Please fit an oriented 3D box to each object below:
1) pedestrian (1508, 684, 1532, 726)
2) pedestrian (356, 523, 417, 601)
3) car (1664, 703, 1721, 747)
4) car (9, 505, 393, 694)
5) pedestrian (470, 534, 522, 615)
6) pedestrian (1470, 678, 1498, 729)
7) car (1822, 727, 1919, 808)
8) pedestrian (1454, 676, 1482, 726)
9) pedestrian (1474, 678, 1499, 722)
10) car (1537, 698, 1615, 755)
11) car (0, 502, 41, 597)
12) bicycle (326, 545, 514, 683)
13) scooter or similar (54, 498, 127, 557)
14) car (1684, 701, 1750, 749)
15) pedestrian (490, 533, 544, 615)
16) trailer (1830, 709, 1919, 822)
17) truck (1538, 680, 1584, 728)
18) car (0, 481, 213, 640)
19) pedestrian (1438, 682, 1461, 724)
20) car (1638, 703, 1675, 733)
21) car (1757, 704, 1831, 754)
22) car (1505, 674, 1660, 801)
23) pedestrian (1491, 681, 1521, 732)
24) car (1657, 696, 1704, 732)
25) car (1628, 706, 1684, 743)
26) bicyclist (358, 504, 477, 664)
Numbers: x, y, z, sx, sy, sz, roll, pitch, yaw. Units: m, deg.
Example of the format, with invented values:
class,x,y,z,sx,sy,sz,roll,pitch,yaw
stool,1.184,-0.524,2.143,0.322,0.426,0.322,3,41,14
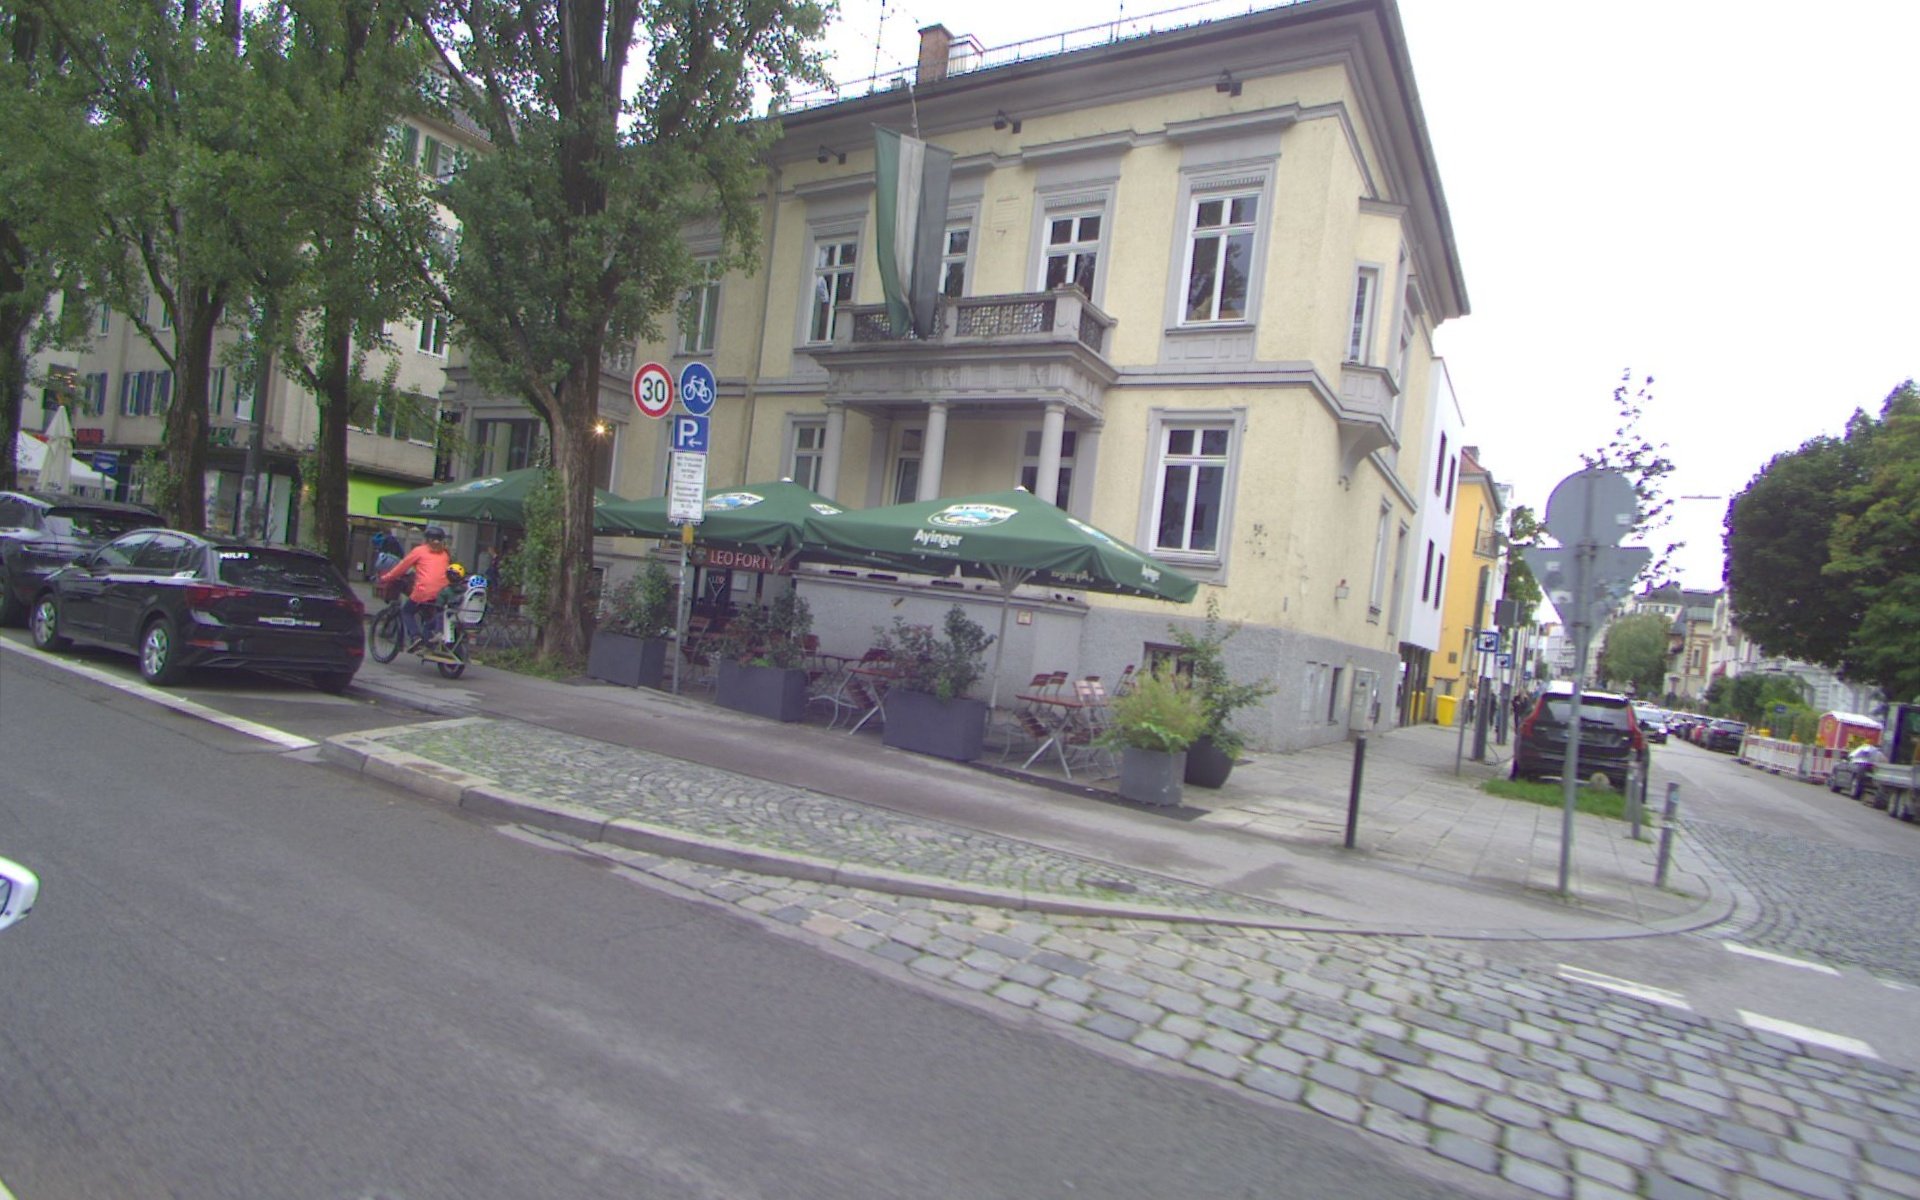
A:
class,x,y,z,sx,sy,sz,roll,pitch,yaw
pedestrian,20.505,3.844,36.843,0.590,1.426,0.800,7,-2,28
pedestrian,-13.652,-0.896,23.957,0.862,1.698,0.798,7,0,31
car,40.095,6.838,55.167,1.967,2.036,3.996,6,-3,31
car,-7.916,-0.027,10.435,3.884,1.433,1.697,7,-1,30
pedestrian,-10.543,-0.576,22.880,0.865,1.698,0.796,7,0,-23
pedestrian,20.214,3.982,38.826,0.752,1.814,0.873,7,0,26
car,23.316,4.167,24.896,1.965,1.703,3.999,6,-3,27
pedestrian,19.465,3.865,38.535,0.752,1.814,0.873,7,0,26
pedestrian,23.007,4.339,43.938,0.752,1.814,0.873,7,0,26
car,18.806,3.822,30.855,1.672,1.416,3.997,6,-2,28
car,-16.645,-1.038,15.873,4.268,1.410,1.714,7,-1,28
bicycle,-6.512,0.143,12.075,2.408,1.366,0.773,7,1,31
scooter or similar,-24.403,-2.037,28.206,2.451,1.394,0.637,8,2,28
car,37.784,6.246,50.303,1.967,2.036,3.996,6,-3,31
pedestrian,-10.549,-0.615,23.933,0.869,1.818,0.766,7,0,-35
trailer,19.682,3.384,20.396,1.874,2.052,5.250,7,-1,30
truck,35.487,6.143,59.479,1.845,2.499,3.997,7,-2,28
car,-12.007,-0.615,13.217,4.372,1.656,1.807,7,-1,30
pedestrian,17.799,3.756,36.599,0.590,1.426,0.800,7,-2,28
car,55.472,9.404,80.163,1.967,2.036,3.996,6,-3,31
car,40.417,6.234,48.830,1.967,2.036,3.996,6,-3,31
car,11.121,2.402,17.810,1.940,1.721,4.421,6,-3,35
pedestrian,20.645,4.005,38.045,0.752,1.814,0.873,7,0,26
car,47.731,7.548,66.706,1.967,2.036,3.996,6,-3,31
car,34.009,6.034,49.238,1.672,1.485,3.997,6,-2,28
bicyclist,-6.514,-0.179,12.092,0.870,1.788,0.768,7,0,31
